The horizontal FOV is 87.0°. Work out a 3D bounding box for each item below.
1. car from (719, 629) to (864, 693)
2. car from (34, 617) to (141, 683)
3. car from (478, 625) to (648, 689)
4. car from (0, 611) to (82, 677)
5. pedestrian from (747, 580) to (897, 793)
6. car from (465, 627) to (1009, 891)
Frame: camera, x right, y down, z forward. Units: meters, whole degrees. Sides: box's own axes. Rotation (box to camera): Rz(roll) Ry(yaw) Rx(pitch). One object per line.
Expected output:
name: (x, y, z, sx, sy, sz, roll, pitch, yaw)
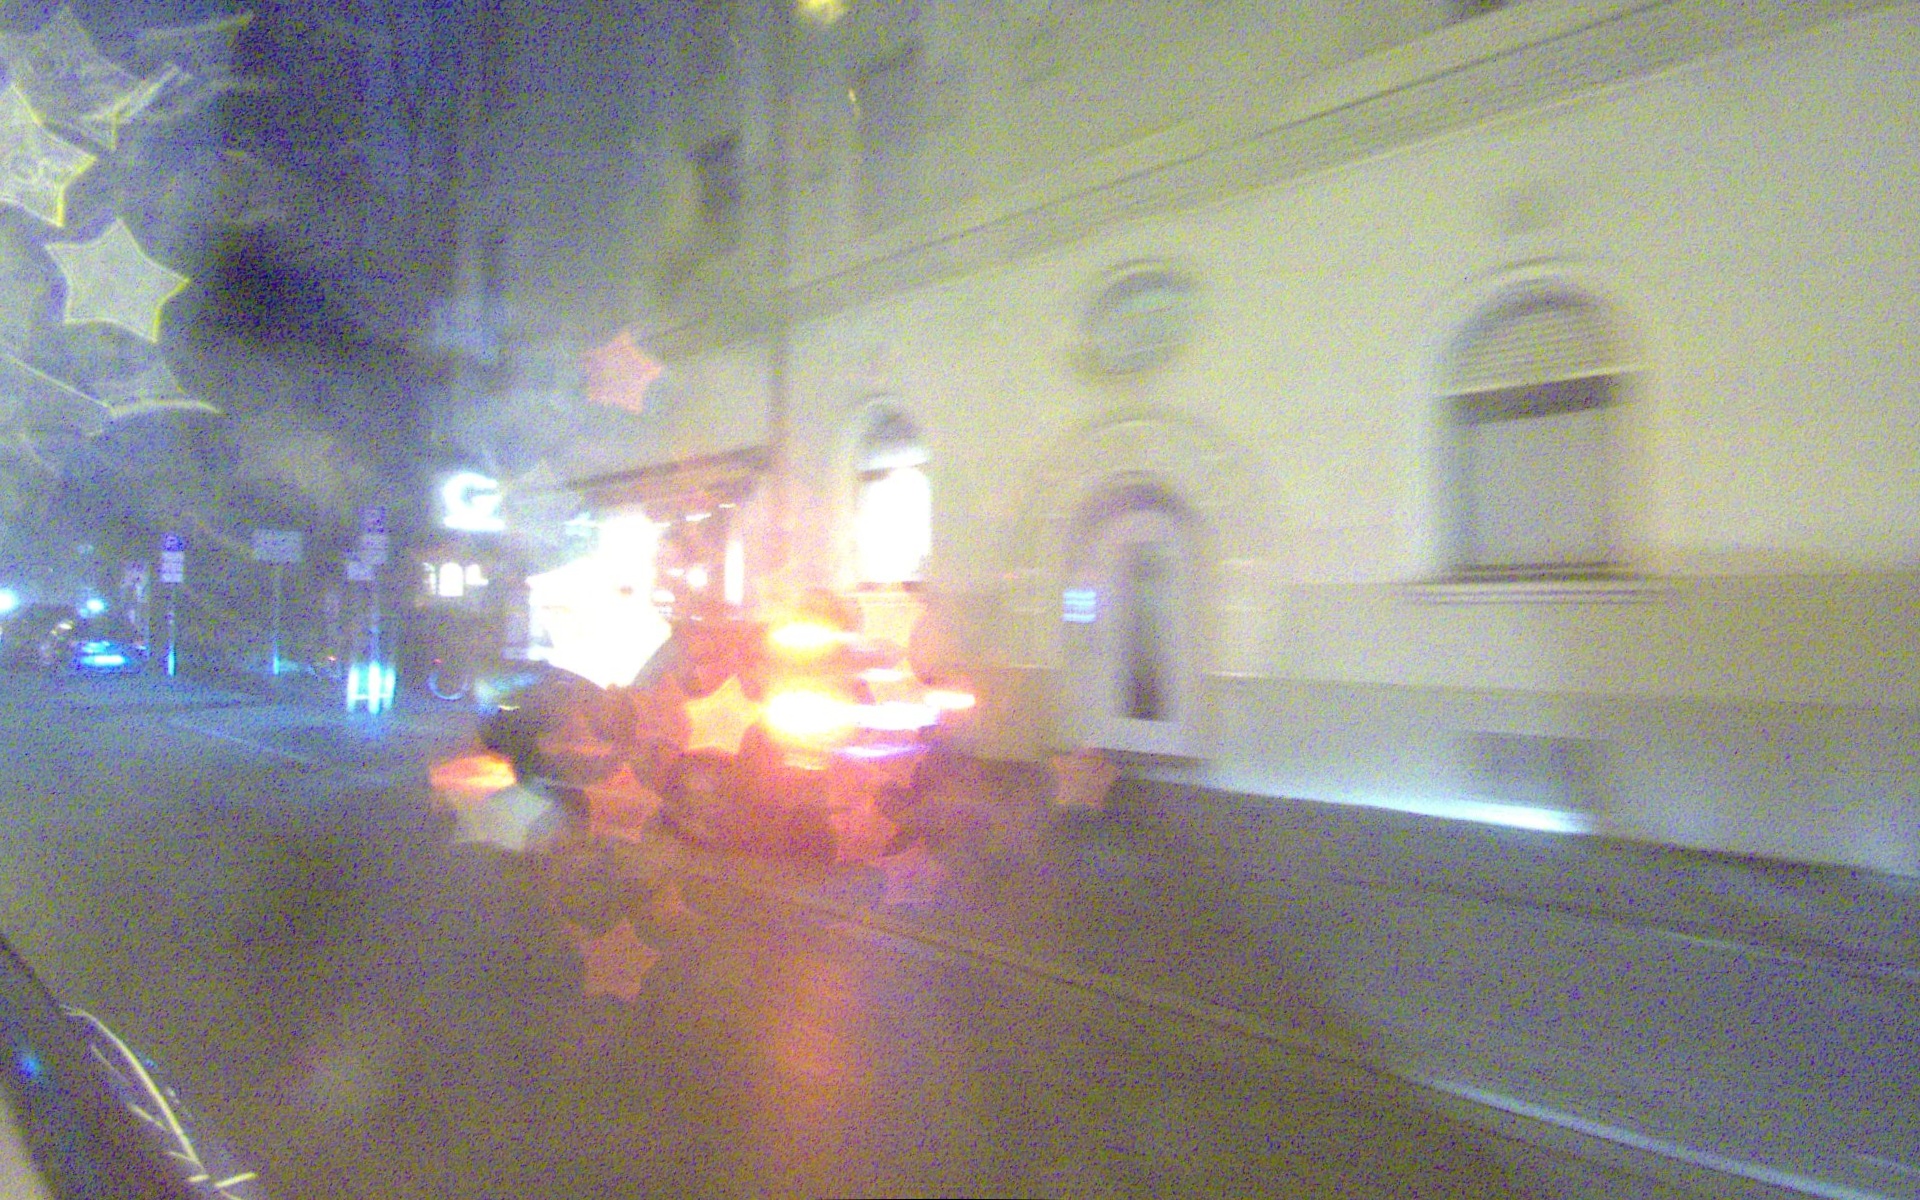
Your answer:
car: (-4.882, 1.724, 29.690, 1.885, 1.693, 3.946, -1, -1, 40)
car: (-21.221, 1.164, 24.573, 3.562, 1.453, 1.530, -1, 0, 42)
car: (-10.599, 1.482, 27.211, 1.715, 1.583, 3.892, -1, -3, 40)
car: (-28.297, 1.311, 30.707, 4.825, 1.860, 1.847, -1, -3, 42)
pedestrian: (-1.245, 0.742, 9.234, 0.787, 1.796, 1.120, -2, -2, 41)
car: (-1.810, 0.883, 7.301, 4.219, 1.369, 1.637, -1, -2, 41)
